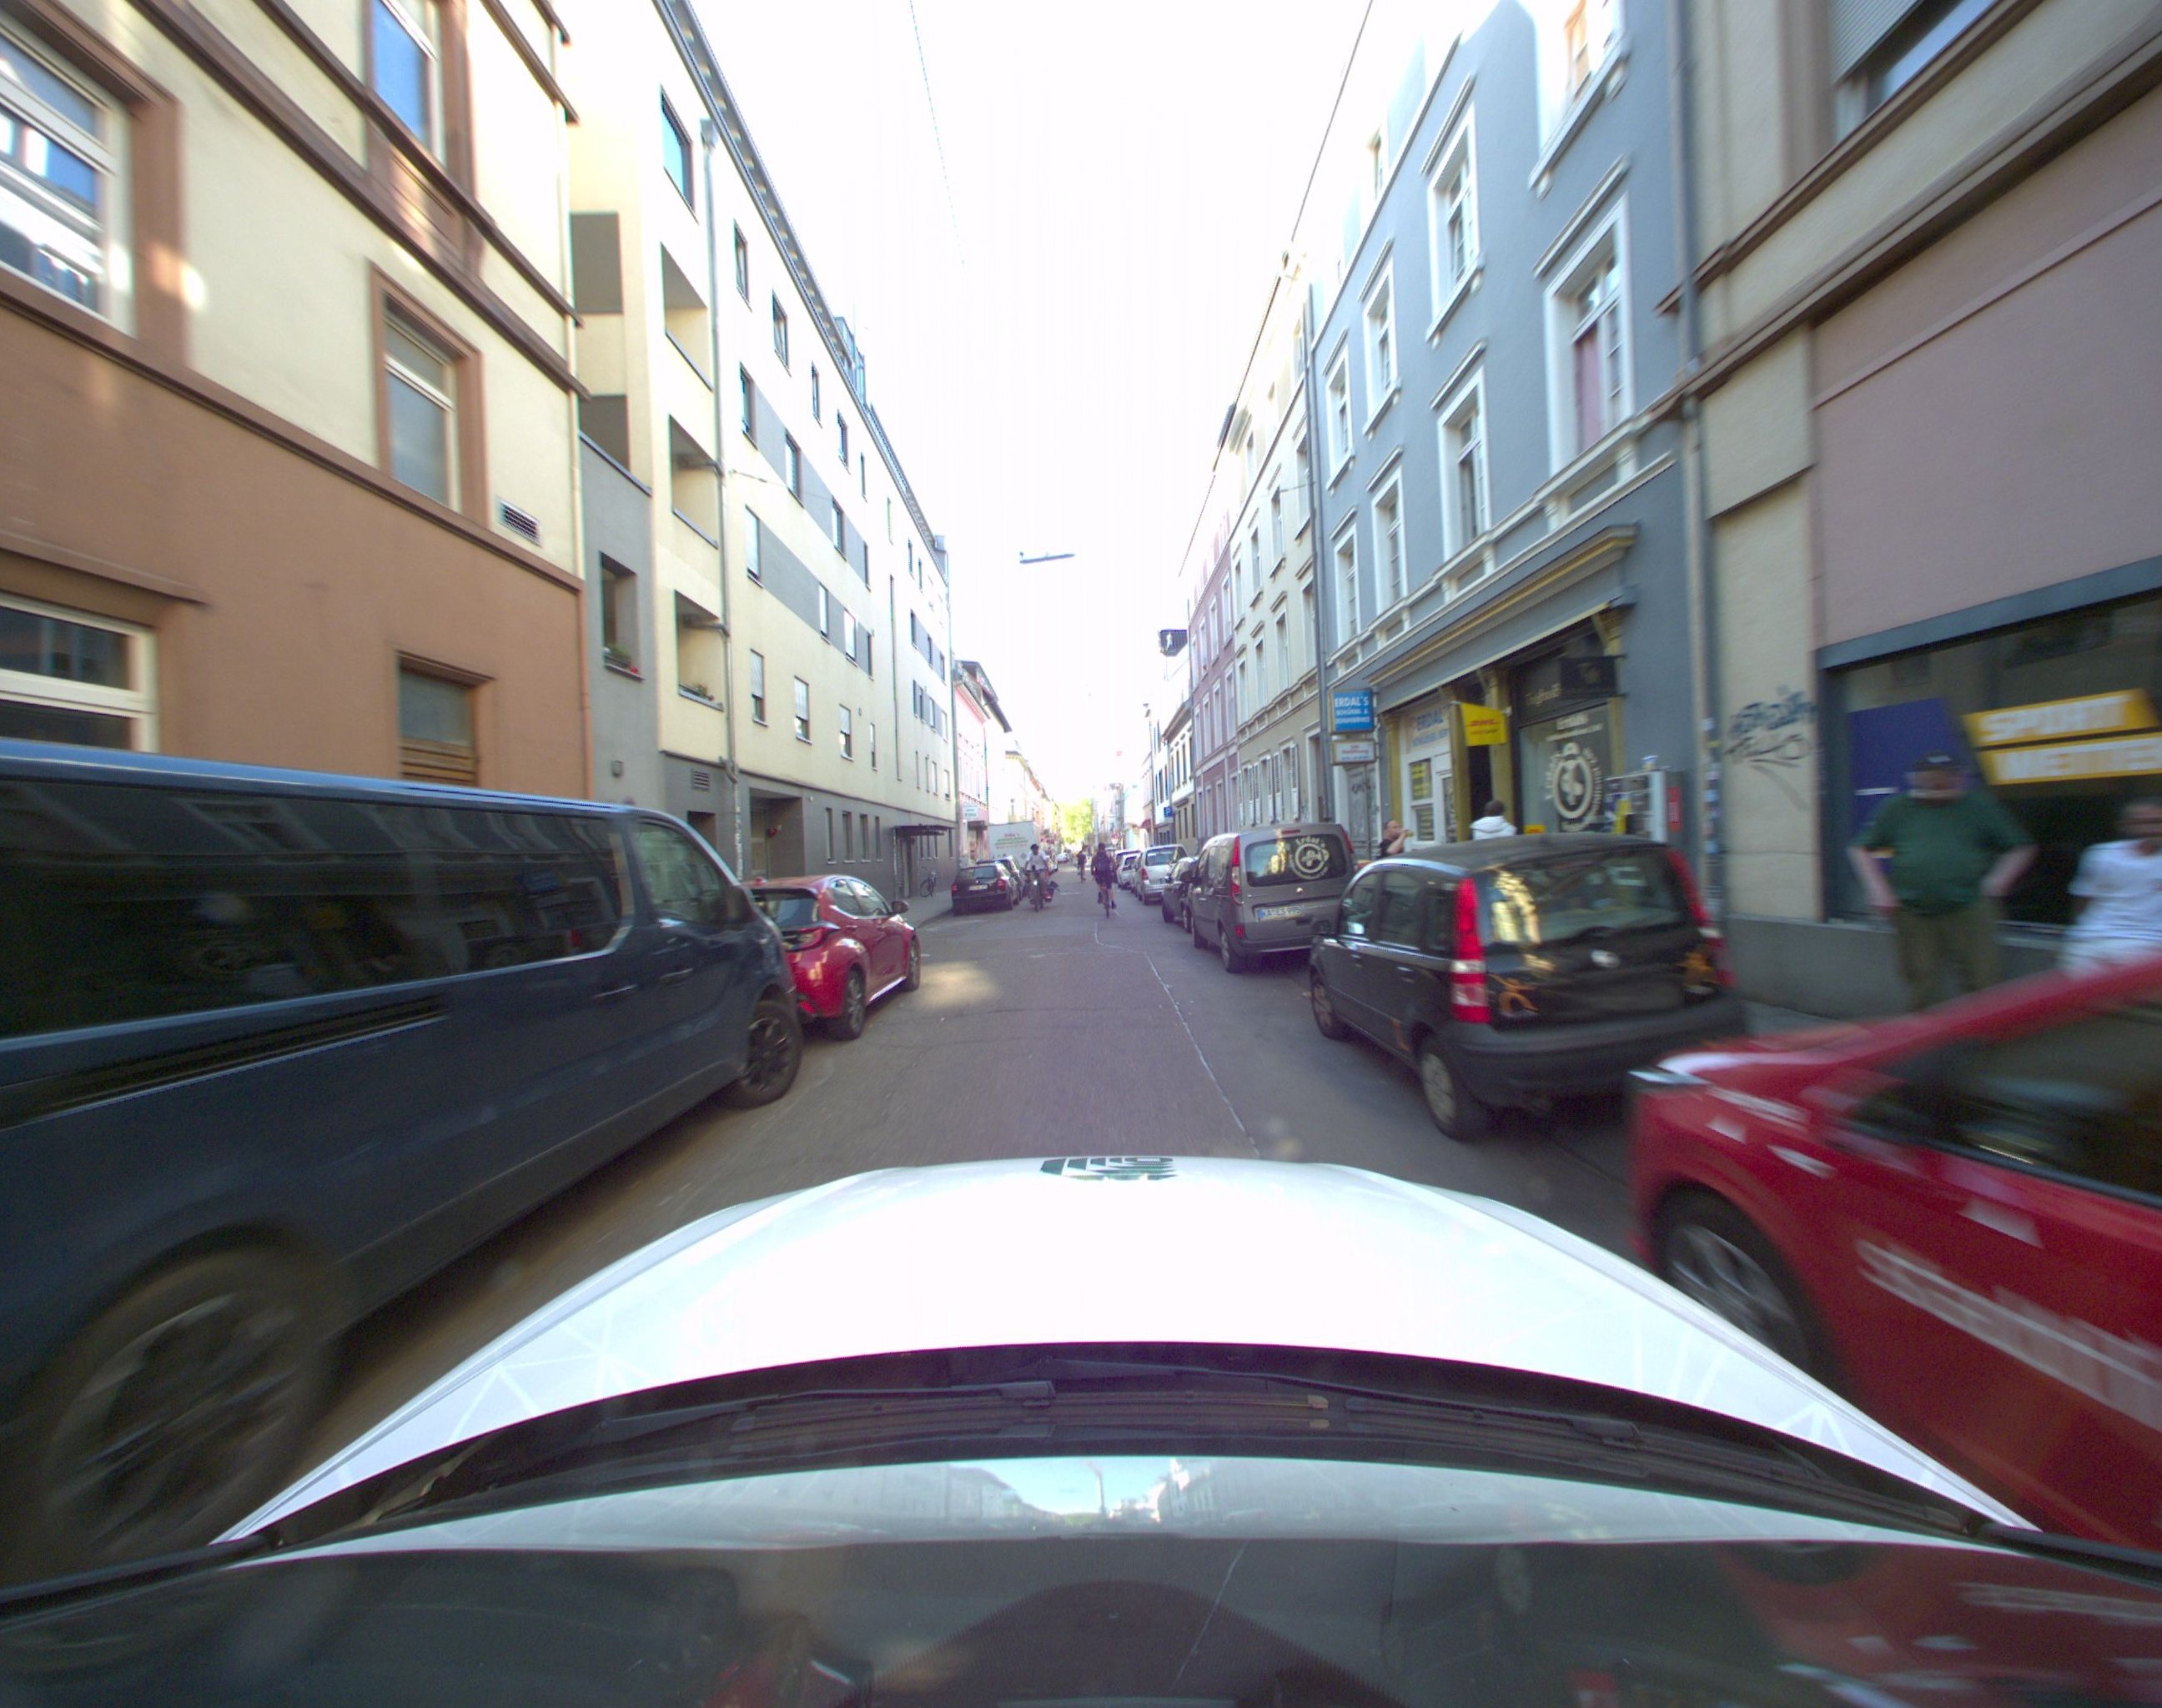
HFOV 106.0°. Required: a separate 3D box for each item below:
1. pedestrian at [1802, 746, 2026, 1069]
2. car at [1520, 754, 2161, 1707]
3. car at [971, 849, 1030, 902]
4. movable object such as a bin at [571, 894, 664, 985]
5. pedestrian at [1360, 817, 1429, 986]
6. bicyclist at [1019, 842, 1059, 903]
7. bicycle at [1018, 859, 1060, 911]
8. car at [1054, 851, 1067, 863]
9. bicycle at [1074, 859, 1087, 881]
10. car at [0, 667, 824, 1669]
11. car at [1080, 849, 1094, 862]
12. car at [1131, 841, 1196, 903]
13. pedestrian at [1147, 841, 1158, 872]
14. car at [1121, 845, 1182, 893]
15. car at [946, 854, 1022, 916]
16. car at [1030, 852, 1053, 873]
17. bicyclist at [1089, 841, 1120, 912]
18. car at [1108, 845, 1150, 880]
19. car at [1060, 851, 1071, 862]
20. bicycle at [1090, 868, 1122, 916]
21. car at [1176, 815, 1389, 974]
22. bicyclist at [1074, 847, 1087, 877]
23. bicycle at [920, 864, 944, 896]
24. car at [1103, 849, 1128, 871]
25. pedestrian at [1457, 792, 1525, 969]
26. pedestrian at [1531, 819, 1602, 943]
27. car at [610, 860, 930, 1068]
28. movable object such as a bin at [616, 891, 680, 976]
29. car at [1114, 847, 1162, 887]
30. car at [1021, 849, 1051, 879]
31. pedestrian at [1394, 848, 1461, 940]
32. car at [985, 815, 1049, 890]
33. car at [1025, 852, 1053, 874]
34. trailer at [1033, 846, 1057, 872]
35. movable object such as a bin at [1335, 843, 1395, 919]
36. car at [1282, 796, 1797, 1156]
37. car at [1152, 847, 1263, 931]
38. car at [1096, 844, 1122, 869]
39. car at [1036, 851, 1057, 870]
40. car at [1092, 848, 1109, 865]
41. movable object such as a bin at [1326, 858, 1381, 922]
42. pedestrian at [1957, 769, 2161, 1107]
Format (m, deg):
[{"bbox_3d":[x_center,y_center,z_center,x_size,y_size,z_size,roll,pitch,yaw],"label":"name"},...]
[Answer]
[{"bbox_3d":[4.861,0.284,4.788,0.629,1.740,0.656,-1,-1,-13],"label":"pedestrian"},{"bbox_3d":[2.448,0.615,1.237,1.601,1.572,3.552,-1,0,0],"label":"car"},{"bbox_3d":[-2.951,0.742,30.628,1.712,1.650,4.244,-5,1,-1],"label":"car"},{"bbox_3d":[-5.805,1.055,10.219,0.753,1.067,0.655,-2,-1,19],"label":"movable object such as a bin"},{"bbox_3d":[3.314,0.485,8.637,0.440,1.704,0.654,-1,-1,0],"label":"pedestrian"},{"bbox_3d":[-1.184,0.525,23.141,0.947,1.628,0.953,-4,0,-1],"label":"bicyclist"},{"bbox_3d":[-1.168,0.844,23.423,0.974,1.314,2.555,-4,0,0],"label":"bicycle"},{"bbox_3d":[-3.081,0.490,123.967,1.745,1.683,3.795,-3,0,0],"label":"car"},{"bbox_3d":[-0.021,0.846,44.156,0.646,1.129,2.135,-1,0,0],"label":"bicycle"},{"bbox_3d":[-3.004,0.590,3.428,2.013,1.879,5.298,-1,0,1],"label":"car"},{"bbox_3d":[0.730,0.239,100.987,1.606,1.560,3.609,-1,0,0],"label":"car"},{"bbox_3d":[2.461,0.518,24.885,1.552,1.712,3.557,-1,0,-1],"label":"car"},{"bbox_3d":[4.687,0.145,53.548,0.642,2.014,0.763,-1,-1,-1],"label":"pedestrian"},{"bbox_3d":[2.548,0.536,30.378,1.692,1.543,4.627,-4,0,-1],"label":"car"},{"bbox_3d":[-2.849,0.858,24.845,1.712,1.478,4.497,-5,1,-1],"label":"car"},{"bbox_3d":[-3.171,0.654,66.033,1.648,1.537,3.633,-3,0,0],"label":"car"},{"bbox_3d":[0.567,0.533,19.809,0.666,1.676,1.097,-1,-1,-1],"label":"bicyclist"},{"bbox_3d":[2.543,0.441,44.035,1.912,1.706,4.365,-2,0,-1],"label":"car"},{"bbox_3d":[-2.671,0.411,141.029,1.745,1.821,3.795,-3,0,0],"label":"car"},{"bbox_3d":[0.577,0.898,19.787,0.675,1.074,1.941,-1,0,-1],"label":"bicycle"},{"bbox_3d":[2.592,0.481,11.583,1.893,1.793,4.313,-1,0,-1],"label":"car"},{"bbox_3d":[-0.038,0.440,44.146,0.669,1.567,0.716,-1,-1,-2],"label":"bicyclist"},{"bbox_3d":[-5.809,0.999,31.835,0.488,1.164,1.773,-4,0,1],"label":"bicycle"},{"bbox_3d":[2.642,0.440,62.404,1.744,1.486,3.800,-3,0,1],"label":"car"},{"bbox_3d":[4.175,0.266,8.306,0.555,1.740,0.430,-2,-1,26],"label":"pedestrian"},{"bbox_3d":[5.002,0.269,8.381,0.525,1.222,0.518,-2,-1,39],"label":"pedestrian"},{"bbox_3d":[-2.884,0.910,8.554,1.745,1.522,3.868,-5,0,0],"label":"car"},{"bbox_3d":[-5.907,1.063,11.102,0.732,1.067,0.501,-1,-1,-32],"label":"movable object such as a bin"},{"bbox_3d":[2.439,0.557,35.736,1.681,1.543,4.044,-4,0,-1],"label":"car"},{"bbox_3d":[-3.006,0.648,55.384,1.747,1.816,4.076,-4,0,-1],"label":"car"},{"bbox_3d":[4.970,0.560,11.715,0.673,1.277,0.654,-1,-1,1],"label":"pedestrian"},{"bbox_3d":[-3.107,-0.077,41.202,2.336,3.291,7.154,-4,0,0],"label":"car"},{"bbox_3d":[-3.100,0.667,60.947,1.745,1.537,4.318,-3,0,0],"label":"car"},{"bbox_3d":[-3.099,0.456,70.679,1.876,2.092,3.736,-3,0,-1],"label":"trailer"},{"bbox_3d":[4.925,0.466,14.161,0.760,1.243,0.580,-3,0,-3],"label":"movable object such as a bin"},{"bbox_3d":[2.573,0.585,5.510,1.564,1.556,3.315,-5,0,2],"label":"car"},{"bbox_3d":[2.513,0.660,16.949,1.549,1.511,3.608,-1,0,-3],"label":"car"},{"bbox_3d":[2.297,0.235,67.463,1.746,1.878,3.968,-3,0,-3],"label":"car"},{"bbox_3d":[-3.148,0.575,74.713,1.745,1.573,3.795,-3,0,0],"label":"car"},{"bbox_3d":[1.987,0.249,84.715,1.606,1.633,3.609,-1,0,0],"label":"car"},{"bbox_3d":[4.951,0.642,14.830,0.723,1.091,0.684,-2,0,-3],"label":"movable object such as a bin"},{"bbox_3d":[5.025,0.377,4.052,0.586,1.529,0.657,-1,-1,-6],"label":"pedestrian"}]
